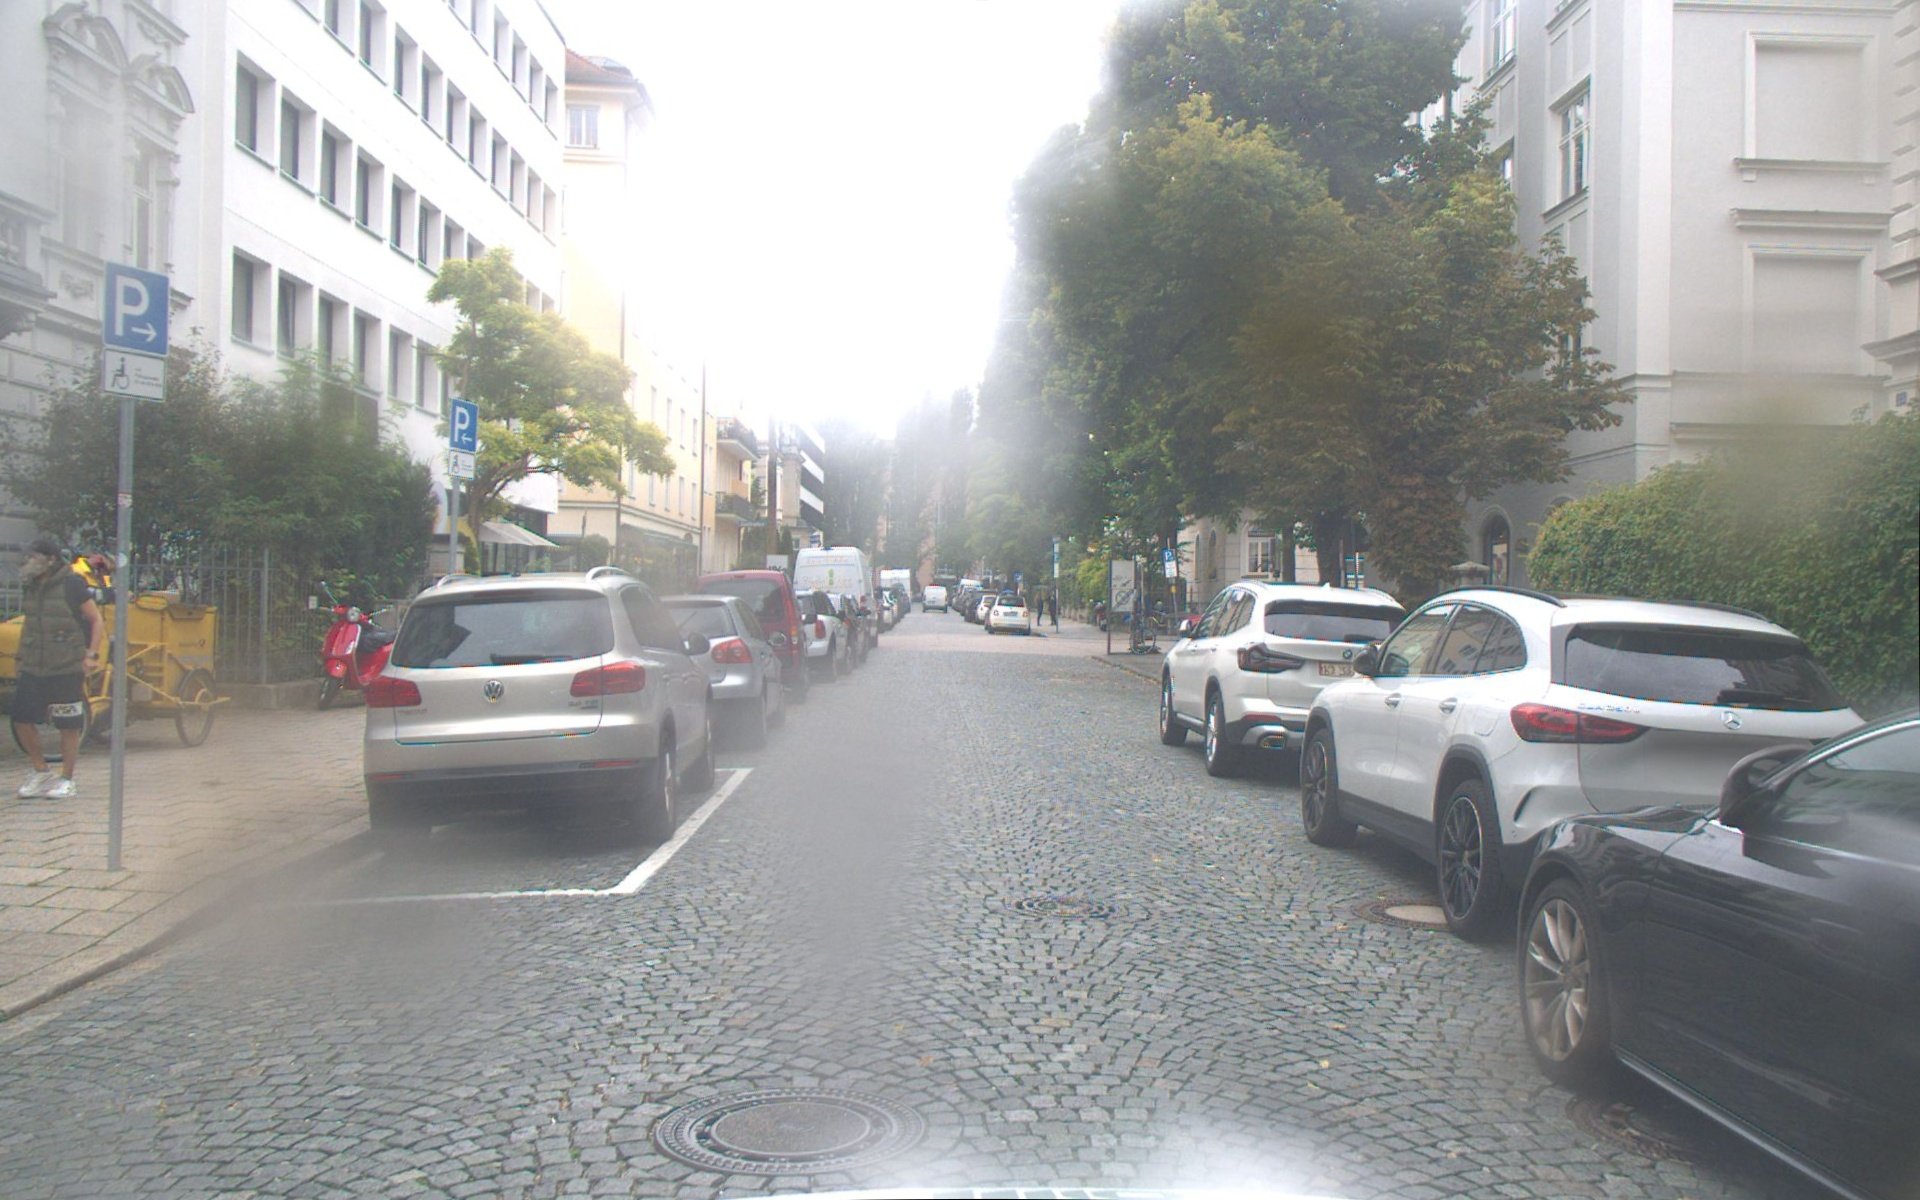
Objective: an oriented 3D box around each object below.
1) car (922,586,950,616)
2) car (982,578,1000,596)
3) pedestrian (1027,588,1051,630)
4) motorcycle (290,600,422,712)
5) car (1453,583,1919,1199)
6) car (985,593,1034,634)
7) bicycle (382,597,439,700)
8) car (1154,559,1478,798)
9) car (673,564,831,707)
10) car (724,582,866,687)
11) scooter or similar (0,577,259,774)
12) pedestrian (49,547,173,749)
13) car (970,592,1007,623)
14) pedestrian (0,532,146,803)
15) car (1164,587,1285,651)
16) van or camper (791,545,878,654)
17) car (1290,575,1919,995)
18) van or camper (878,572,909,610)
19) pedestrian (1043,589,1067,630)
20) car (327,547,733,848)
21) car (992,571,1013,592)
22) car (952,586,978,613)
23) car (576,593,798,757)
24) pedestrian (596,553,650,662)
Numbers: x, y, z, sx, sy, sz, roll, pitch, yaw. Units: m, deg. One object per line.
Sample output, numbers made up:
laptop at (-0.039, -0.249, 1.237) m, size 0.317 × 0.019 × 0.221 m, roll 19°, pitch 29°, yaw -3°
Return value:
car at (-1.698, 0.053, 118.225) m, size 1.953 × 2.049 × 4.000 m, roll 1°, pitch 0°, yaw -1°
car at (3.648, -1.485, 192.614) m, size 1.953 × 2.049 × 3.999 m, roll 1°, pitch 0°, yaw -1°
pedestrian at (3.927, 0.457, 82.187) m, size 0.843 × 2.049 × 0.986 m, roll 1°, pitch 0°, yaw -18°
motorcycle at (-6.971, 0.622, 19.189) m, size 0.609 × 1.217 × 1.866 m, roll 1°, pitch 0°, yaw 8°
car at (2.870, 0.784, 3.814) m, size 1.836 × 1.529 × 4.508 m, roll 4°, pitch 0°, yaw -3°
car at (1.913, 0.500, 65.170) m, size 1.753 × 1.547 × 4.000 m, roll 1°, pitch 0°, yaw -1°
bicycle at (-7.109, 0.601, 21.350) m, size 0.645 × 1.242 × 2.077 m, roll 1°, pitch 0°, yaw -19°
car at (3.077, 0.613, 15.333) m, size 1.835 × 1.763 × 4.592 m, roll 4°, pitch 0°, yaw -1°
car at (-2.913, 0.463, 23.948) m, size 1.835 × 1.807 × 4.121 m, roll -3°, pitch 0°, yaw -2°
car at (-2.810, 0.567, 29.011) m, size 1.834 × 1.607 × 4.209 m, roll 3°, pitch 0°, yaw 2°
scooter or similar at (-6.858, 0.560, 13.793) m, size 0.922 × 1.467 × 2.656 m, roll 1°, pitch 0°, yaw -1°
pedestrian at (-7.429, 0.408, 14.493) m, size 0.703 × 1.717 × 0.695 m, roll 1°, pitch 0°, yaw -2°
car at (1.454, 0.389, 85.809) m, size 1.753 × 1.547 × 4.000 m, roll 1°, pitch 0°, yaw -1°
pedestrian at (-5.891, 0.428, 10.899) m, size 0.679 × 1.717 × 0.719 m, roll 1°, pitch 0°, yaw -2°
car at (8.945, 0.624, 56.214) m, size 3.902 × 2.049 × 2.001 m, roll 1°, pitch 0°, yaw 6°
van or camper at (-3.289, -0.023, 43.978) m, size 1.953 × 2.698 × 4.000 m, roll -2°, pitch 0°, yaw -1°
car at (3.186, 0.758, 8.886) m, size 1.781 × 1.607 × 4.206 m, roll 4°, pitch 0°, yaw -2°
van or camper at (-5.129, -0.711, 128.535) m, size 2.210 × 2.790 × 5.097 m, roll 2°, pitch 0°, yaw -1°
pedestrian at (4.751, 0.477, 82.652) m, size 0.843 × 2.049 × 0.986 m, roll 1°, pitch 0°, yaw -18°
car at (-2.680, 0.523, 11.339) m, size 1.836 × 1.607 × 4.253 m, roll -2°, pitch 0°, yaw -3°
car at (4.307, -1.859, 168.101) m, size 1.953 × 2.049 × 3.999 m, roll 1°, pitch 0°, yaw -1°
car at (0.356, -0.046, 128.962) m, size 1.953 × 2.049 × 4.000 m, roll 2°, pitch 0°, yaw -1°
car at (-2.726, 0.682, 17.395) m, size 1.836 × 1.476 × 4.205 m, roll -1°, pitch 0°, yaw -3°
pedestrian at (-6.189, 0.127, 30.409) m, size 0.776 × 1.951 × 0.758 m, roll 2°, pitch 0°, yaw -2°
